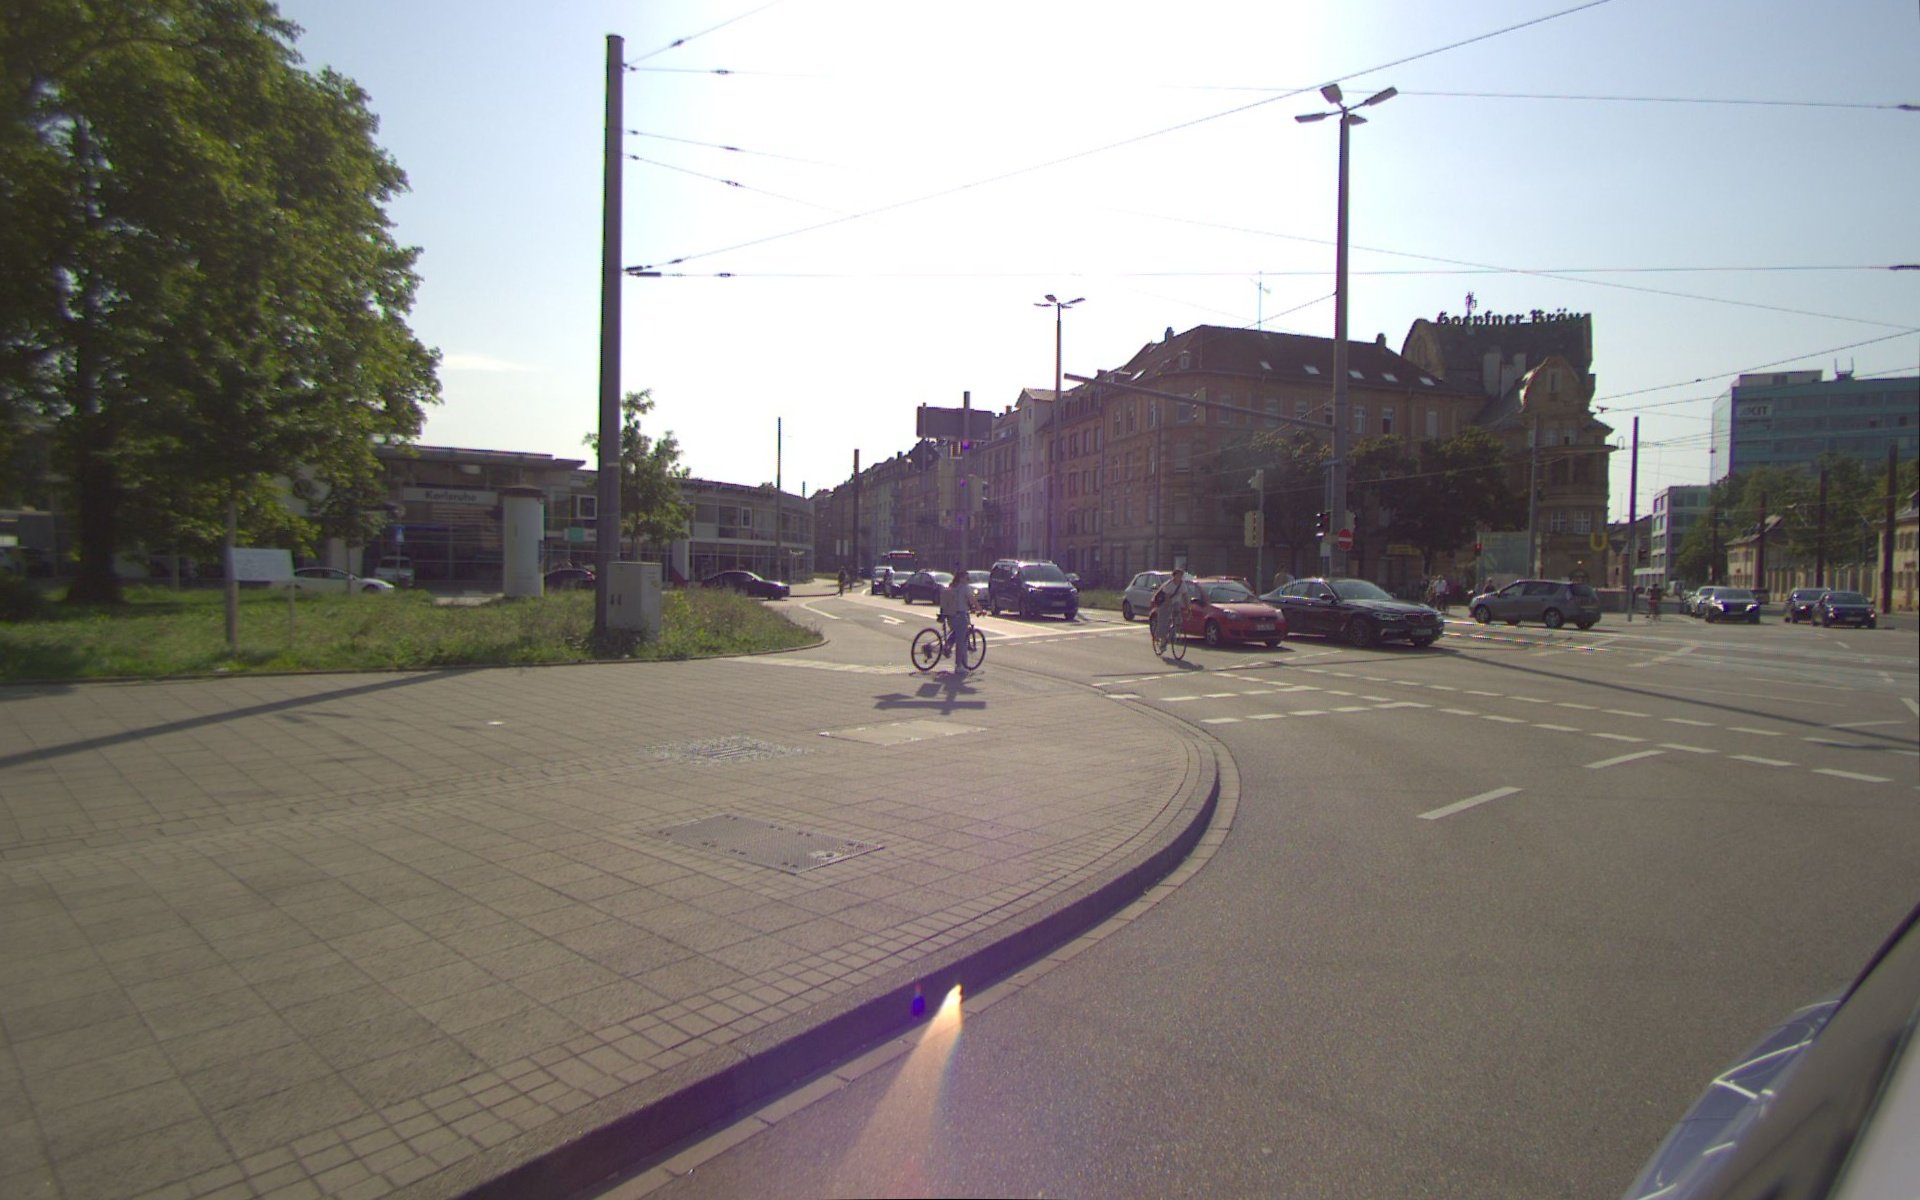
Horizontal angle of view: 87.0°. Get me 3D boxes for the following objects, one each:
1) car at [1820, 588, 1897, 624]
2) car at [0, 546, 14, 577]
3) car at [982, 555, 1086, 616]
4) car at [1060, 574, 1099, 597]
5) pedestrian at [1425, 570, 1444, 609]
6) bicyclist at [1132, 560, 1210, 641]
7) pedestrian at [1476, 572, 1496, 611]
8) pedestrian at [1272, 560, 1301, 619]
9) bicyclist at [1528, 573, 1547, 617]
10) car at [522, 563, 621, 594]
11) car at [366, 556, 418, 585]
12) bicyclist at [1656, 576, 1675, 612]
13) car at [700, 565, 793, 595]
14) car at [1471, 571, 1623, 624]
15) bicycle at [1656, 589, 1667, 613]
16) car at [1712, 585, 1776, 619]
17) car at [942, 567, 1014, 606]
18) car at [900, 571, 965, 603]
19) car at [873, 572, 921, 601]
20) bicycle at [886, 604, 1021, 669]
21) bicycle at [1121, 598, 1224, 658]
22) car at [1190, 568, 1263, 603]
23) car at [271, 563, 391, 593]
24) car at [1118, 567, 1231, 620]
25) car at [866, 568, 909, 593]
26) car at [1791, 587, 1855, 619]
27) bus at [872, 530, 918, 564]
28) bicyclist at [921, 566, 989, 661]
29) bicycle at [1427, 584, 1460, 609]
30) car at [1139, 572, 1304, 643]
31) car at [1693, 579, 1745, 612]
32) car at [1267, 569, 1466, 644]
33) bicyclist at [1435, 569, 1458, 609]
[{"bbox_3d":[36.357,0.205,41.033,1.681,1.343,3.953,2,2,33],"label":"car"},{"bbox_3d":[-45.425,-1.774,45.628,1.960,1.480,4.066,1,1,-5],"label":"car"},{"bbox_3d":[2.338,-0.538,33.431,1.765,1.850,4.785,1,2,-17],"label":"car"},{"bbox_3d":[8.360,-1.058,71.054,1.705,1.478,3.847,1,2,-9],"label":"car"},{"bbox_3d":[21.632,-0.490,46.145,0.495,1.747,0.625,1,1,-6],"label":"pedestrian"},{"bbox_3d":[4.032,-0.004,19.354,1.067,1.493,0.972,0,2,-34],"label":"bicyclist"},{"bbox_3d":[22.850,-0.382,43.951,0.495,1.661,0.525,1,1,-21],"label":"pedestrian"},{"bbox_3d":[9.725,-0.315,30.181,0.515,1.751,0.599,1,1,-22],"label":"pedestrian"},{"bbox_3d":[23.543,-0.200,41.249,0.582,1.752,0.589,2,1,28],"label":"bicyclist"},{"bbox_3d":[-18.452,-1.020,48.107,4.306,1.387,2.004,0,2,-24],"label":"car"},{"bbox_3d":[-30.236,-1.579,53.967,1.958,1.480,4.333,1,1,-24],"label":"car"},{"bbox_3d":[33.813,-0.299,48.512,0.658,1.657,0.907,2,2,35],"label":"bicyclist"},{"bbox_3d":[-10.572,-1.004,50.309,4.309,1.387,2.003,1,2,-6],"label":"car"},{"bbox_3d":[20.071,-0.138,34.831,1.777,1.644,4.299,2,1,-22],"label":"car"},{"bbox_3d":[33.723,0.059,48.628,0.398,1.103,1.904,2,2,35],"label":"bicycle"},{"bbox_3d":[35.280,0.053,45.635,1.914,1.393,3.953,2,2,33],"label":"car"},{"bbox_3d":[0.660,-0.566,40.168,1.765,1.459,3.640,1,2,-17],"label":"car"},{"bbox_3d":[-1.261,-0.585,45.000,1.765,1.298,3.640,1,2,-20],"label":"car"},{"bbox_3d":[-3.474,-0.739,55.259,1.765,1.459,3.640,1,2,-17],"label":"car"},{"bbox_3d":[-0.089,0.578,15.876,2.032,0.905,0.569,3,1,-26],"label":"bicycle"},{"bbox_3d":[4.043,0.503,19.455,0.519,1.001,2.199,-1,3,-33],"label":"bicycle"},{"bbox_3d":[12.184,-0.693,46.449,1.641,1.465,3.789,1,2,-13],"label":"car"},{"bbox_3d":[-27.170,-0.955,43.896,4.309,1.180,2.003,0,2,-28],"label":"car"},{"bbox_3d":[6.380,-0.236,30.516,1.765,1.453,3.565,1,2,-17],"label":"car"},{"bbox_3d":[-4.467,-1.202,61.970,1.765,1.459,3.640,1,2,-17],"label":"car"},{"bbox_3d":[39.470,0.102,46.364,1.681,1.343,3.953,2,2,33],"label":"car"},{"bbox_3d":[-6.315,-4.965,96.420,2.838,3.020,11.522,1,2,-11],"label":"bus"},{"bbox_3d":[-0.084,0.198,15.891,0.803,1.444,0.732,1,1,-26],"label":"bicyclist"},{"bbox_3d":[21.241,-0.147,44.429,1.494,1.037,0.435,1,1,-24],"label":"bicycle"},{"bbox_3d":[5.836,0.115,23.112,1.765,1.433,4.010,1,2,-17],"label":"car"},{"bbox_3d":[40.735,-0.292,54.372,1.914,1.656,3.953,2,2,33],"label":"car"},{"bbox_3d":[8.993,0.084,22.826,1.765,1.469,4.361,1,2,-17],"label":"car"},{"bbox_3d":[21.338,-0.504,44.406,0.575,1.738,0.649,1,1,-24],"label":"bicyclist"}]
